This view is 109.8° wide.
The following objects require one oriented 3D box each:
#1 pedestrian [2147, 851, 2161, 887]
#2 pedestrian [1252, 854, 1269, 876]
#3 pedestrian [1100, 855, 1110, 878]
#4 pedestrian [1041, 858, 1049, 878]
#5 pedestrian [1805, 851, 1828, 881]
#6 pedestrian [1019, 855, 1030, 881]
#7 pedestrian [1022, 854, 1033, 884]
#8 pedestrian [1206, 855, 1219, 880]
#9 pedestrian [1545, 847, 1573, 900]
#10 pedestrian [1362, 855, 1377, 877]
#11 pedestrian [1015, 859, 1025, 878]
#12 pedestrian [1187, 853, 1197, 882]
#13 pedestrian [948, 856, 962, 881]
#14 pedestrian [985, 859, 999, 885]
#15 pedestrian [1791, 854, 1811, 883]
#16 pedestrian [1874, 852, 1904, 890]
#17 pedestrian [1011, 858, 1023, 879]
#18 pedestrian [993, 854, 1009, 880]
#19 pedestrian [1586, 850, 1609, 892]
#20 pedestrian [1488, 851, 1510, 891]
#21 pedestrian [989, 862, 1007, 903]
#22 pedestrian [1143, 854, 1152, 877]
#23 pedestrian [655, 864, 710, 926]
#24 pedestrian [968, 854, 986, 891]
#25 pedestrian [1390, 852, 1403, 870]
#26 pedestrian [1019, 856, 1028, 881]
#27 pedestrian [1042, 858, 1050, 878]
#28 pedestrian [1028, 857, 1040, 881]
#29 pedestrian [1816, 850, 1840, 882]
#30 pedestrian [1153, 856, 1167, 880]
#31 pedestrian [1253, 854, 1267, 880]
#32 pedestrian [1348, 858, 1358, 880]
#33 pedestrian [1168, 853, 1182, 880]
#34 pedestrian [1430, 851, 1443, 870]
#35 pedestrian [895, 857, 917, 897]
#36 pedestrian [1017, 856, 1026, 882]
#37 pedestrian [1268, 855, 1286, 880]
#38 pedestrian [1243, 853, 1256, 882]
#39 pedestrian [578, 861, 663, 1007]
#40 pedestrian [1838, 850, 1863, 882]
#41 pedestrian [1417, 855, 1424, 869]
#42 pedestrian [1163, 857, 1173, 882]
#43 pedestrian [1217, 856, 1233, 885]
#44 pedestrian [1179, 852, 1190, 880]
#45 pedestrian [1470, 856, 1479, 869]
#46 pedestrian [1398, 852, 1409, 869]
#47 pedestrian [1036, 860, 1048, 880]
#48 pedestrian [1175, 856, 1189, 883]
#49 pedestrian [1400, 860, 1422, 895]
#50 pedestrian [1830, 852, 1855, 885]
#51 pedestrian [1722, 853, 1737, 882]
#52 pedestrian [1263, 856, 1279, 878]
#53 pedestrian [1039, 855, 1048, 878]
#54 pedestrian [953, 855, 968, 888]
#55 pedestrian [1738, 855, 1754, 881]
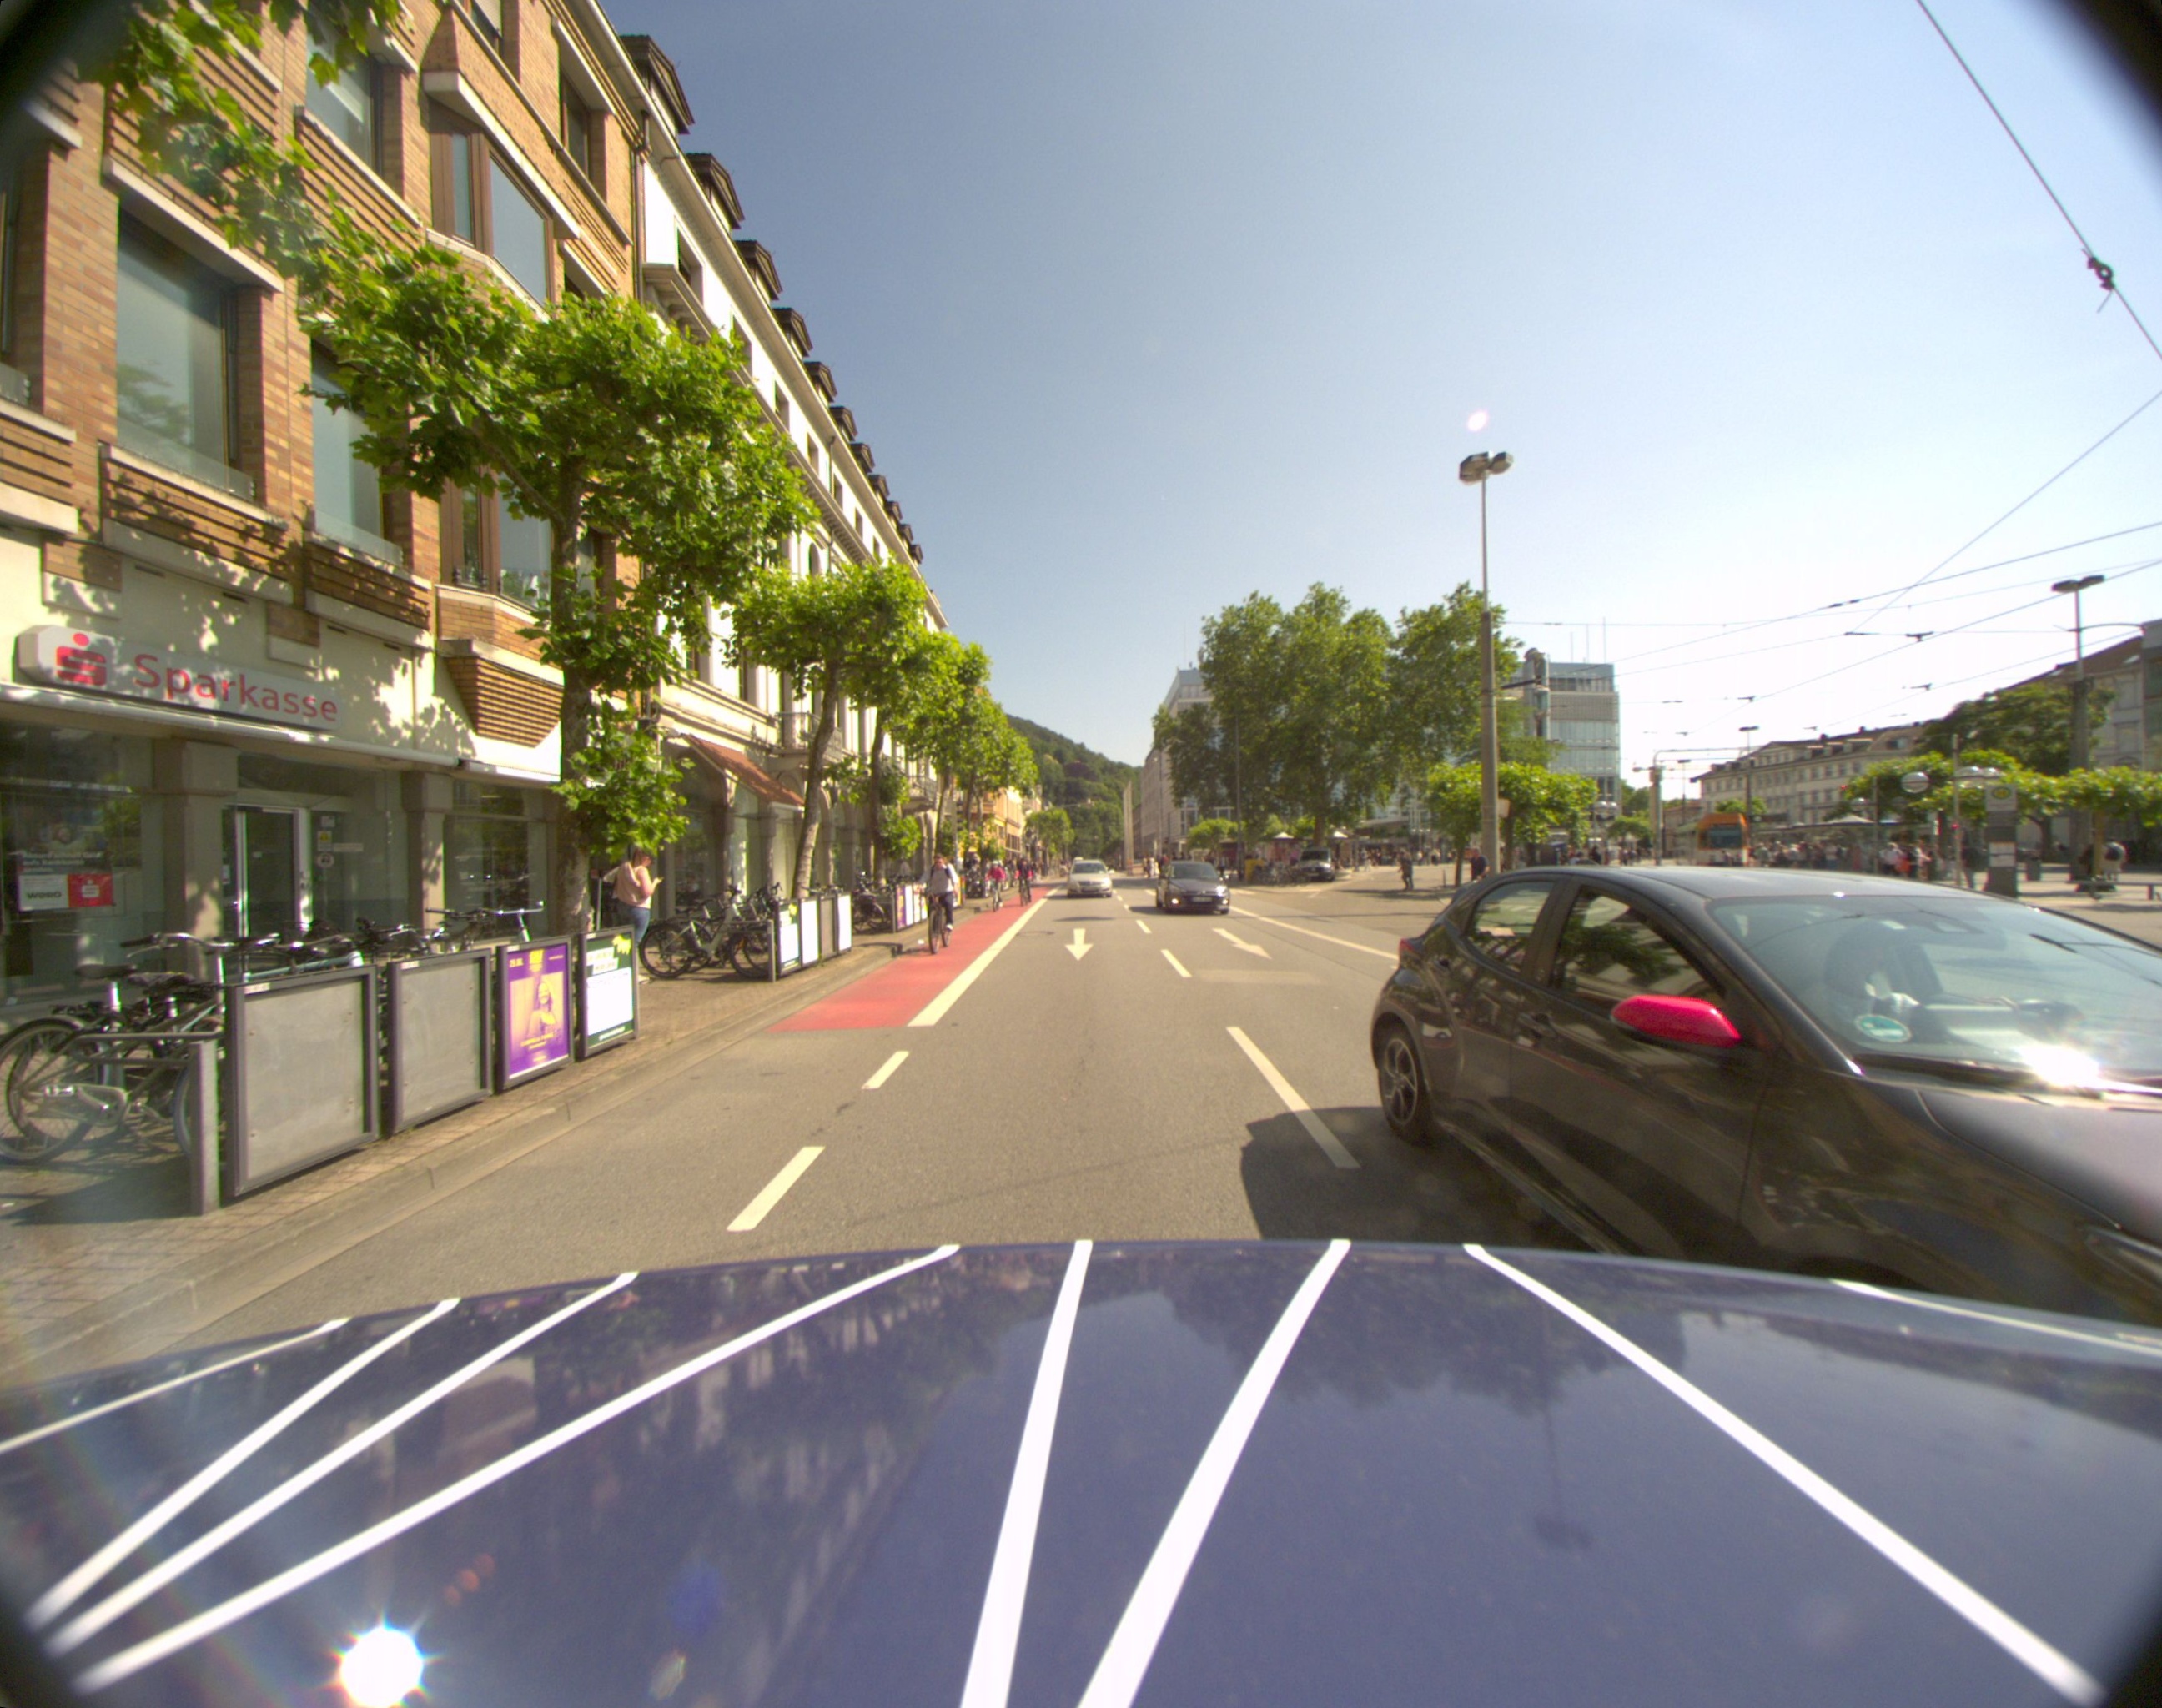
[{"bbox_3d":[47.070,0.648,32.958,0.681,1.540,0.847,1,0,-26],"label":"pedestrian"},{"bbox_3d":[11.952,0.710,50.590,0.752,1.399,0.782,-3,0,-10],"label":"pedestrian"},{"bbox_3d":[1.878,0.956,59.811,0.699,1.774,0.578,-2,1,-5],"label":"pedestrian"},{"bbox_3d":[-3.050,1.204,65.056,0.578,1.674,0.676,0,0,-11],"label":"pedestrian"},{"bbox_3d":[38.897,0.647,40.204,0.579,1.540,0.679,1,0,-23],"label":"pedestrian"},{"bbox_3d":[-3.733,0.937,50.113,0.578,1.675,0.622,-3,1,-3],"label":"pedestrian"},{"bbox_3d":[-3.391,0.953,47.822,0.578,1.835,0.717,-3,1,-3],"label":"pedestrian"},{"bbox_3d":[9.482,0.958,54.718,0.751,1.737,0.667,-3,1,-1],"label":"pedestrian"},{"bbox_3d":[18.556,0.749,29.512,0.693,1.996,0.564,-1,1,-9],"label":"pedestrian"},{"bbox_3d":[23.304,0.939,61.445,0.752,1.737,0.782,-3,1,-10],"label":"pedestrian"},{"bbox_3d":[-5.850,1.407,73.008,0.860,1.782,0.757,-1,0,-11],"label":"pedestrian"},{"bbox_3d":[7.074,0.859,48.549,0.517,1.825,0.716,-3,1,8],"label":"pedestrian"},{"bbox_3d":[-8.499,0.953,51.266,0.798,1.638,0.622,-3,1,1],"label":"pedestrian"},{"bbox_3d":[-5.533,1.104,47.413,0.517,1.574,0.584,-2,1,40],"label":"pedestrian"},{"bbox_3d":[38.713,0.769,40.857,0.681,1.540,0.577,1,0,-26],"label":"pedestrian"},{"bbox_3d":[34.397,0.733,32.349,0.626,1.588,0.679,1,0,-22],"label":"pedestrian"},{"bbox_3d":[-5.555,1.232,65.597,0.733,1.794,0.749,-1,0,28],"label":"pedestrian"},{"bbox_3d":[-5.844,0.952,55.426,0.621,1.834,0.857,-3,1,39],"label":"pedestrian"},{"bbox_3d":[22.556,0.724,33.183,0.577,1.805,0.605,1,0,0],"label":"pedestrian"},{"bbox_3d":[18.890,0.762,34.316,0.626,1.783,0.678,2,0,-42],"label":"pedestrian"},{"bbox_3d":[-3.917,1.345,36.031,0.702,1.891,0.776,-3,1,-2],"label":"pedestrian"},{"bbox_3d":[5.559,0.949,63.492,0.639,1.903,0.733,-3,1,-1],"label":"pedestrian"},{"bbox_3d":[-8.945,0.907,17.074,0.653,1.298,0.868,-3,1,42],"label":"pedestrian"},{"bbox_3d":[-4.484,0.798,32.849,0.606,1.529,0.667,-3,1,-1],"label":"pedestrian"},{"bbox_3d":[30.430,0.666,73.293,0.752,1.737,0.782,-3,1,-10],"label":"pedestrian"},{"bbox_3d":[-3.832,0.981,50.720,0.569,1.674,0.591,0,0,-3],"label":"pedestrian"},{"bbox_3d":[-3.125,1.225,67.865,0.651,1.770,0.621,0,2,-15],"label":"pedestrian"},{"bbox_3d":[-3.479,1.074,56.268,0.606,1.726,0.647,-4,2,-22],"label":"pedestrian"},{"bbox_3d":[37.205,0.588,37.849,0.579,1.540,0.679,1,0,-23],"label":"pedestrian"},{"bbox_3d":[6.038,1.052,57.839,0.876,1.737,0.733,-3,1,-1],"label":"pedestrian"},{"bbox_3d":[12.444,0.912,52.777,0.750,1.737,0.784,-3,1,27],"label":"pedestrian"},{"bbox_3d":[21.979,1.200,61.311,0.638,1.683,0.753,-3,1,23],"label":"pedestrian"},{"bbox_3d":[6.167,0.822,49.880,0.537,1.773,0.745,-3,1,35],"label":"pedestrian"},{"bbox_3d":[34.775,0.637,74.348,0.752,1.737,0.782,-3,1,-10],"label":"pedestrian"},{"bbox_3d":[-7.651,0.987,33.244,0.658,1.686,0.676,-3,1,2],"label":"pedestrian"},{"bbox_3d":[-4.048,1.010,51.427,0.578,1.774,0.699,0,0,-3],"label":"pedestrian"},{"bbox_3d":[12.638,0.882,49.027,0.752,1.587,0.782,-3,1,-10],"label":"pedestrian"},{"bbox_3d":[10.203,0.827,46.128,0.516,1.732,0.518,-3,1,-13],"label":"pedestrian"},{"bbox_3d":[-5.494,0.919,9.106,0.655,1.624,0.729,-3,1,-19],"label":"pedestrian"},{"bbox_3d":[37.781,0.592,37.319,0.579,1.540,0.679,1,0,-23],"label":"pedestrian"},{"bbox_3d":[34.587,0.794,77.390,0.464,1.464,0.410,-3,1,-2],"label":"pedestrian"},{"bbox_3d":[6.109,1.085,53.389,0.612,1.737,0.752,-2,1,-1],"label":"pedestrian"},{"bbox_3d":[8.549,0.974,45.080,0.643,1.681,0.642,-3,1,-13],"label":"pedestrian"},{"bbox_3d":[6.926,0.788,50.961,0.595,1.835,0.738,0,0,-1],"label":"pedestrian"},{"bbox_3d":[44.270,0.925,85.438,0.555,1.464,0.758,-3,0,0],"label":"pedestrian"},{"bbox_3d":[32.876,0.679,77.515,0.750,1.737,0.784,-3,1,38],"label":"pedestrian"},{"bbox_3d":[-2.944,1.230,57.433,0.672,1.488,0.637,-3,1,-14],"label":"pedestrian"},{"bbox_3d":[6.363,0.949,47.913,0.630,1.639,0.753,-3,1,26],"label":"pedestrian"},{"bbox_3d":[14.374,1.023,33.129,0.624,1.515,0.680,1,0,0],"label":"pedestrian"},{"bbox_3d":[36.871,0.696,36.795,0.579,1.540,0.679,1,0,-23],"label":"pedestrian"},{"bbox_3d":[35.453,0.736,41.547,0.477,1.540,0.451,1,0,-26],"label":"pedestrian"},{"bbox_3d":[12.460,0.860,49.815,0.752,1.416,0.673,-3,1,-10],"label":"pedestrian"},{"bbox_3d":[-3.115,1.060,63.006,0.578,1.863,0.680,1,0,-11],"label":"pedestrian"},{"bbox_3d":[-6.755,0.964,42.670,0.635,1.782,0.776,-3,1,-2],"label":"pedestrian"},{"bbox_3d":[40.231,0.864,45.986,0.577,1.540,0.682,1,0,27],"label":"pedestrian"}]
